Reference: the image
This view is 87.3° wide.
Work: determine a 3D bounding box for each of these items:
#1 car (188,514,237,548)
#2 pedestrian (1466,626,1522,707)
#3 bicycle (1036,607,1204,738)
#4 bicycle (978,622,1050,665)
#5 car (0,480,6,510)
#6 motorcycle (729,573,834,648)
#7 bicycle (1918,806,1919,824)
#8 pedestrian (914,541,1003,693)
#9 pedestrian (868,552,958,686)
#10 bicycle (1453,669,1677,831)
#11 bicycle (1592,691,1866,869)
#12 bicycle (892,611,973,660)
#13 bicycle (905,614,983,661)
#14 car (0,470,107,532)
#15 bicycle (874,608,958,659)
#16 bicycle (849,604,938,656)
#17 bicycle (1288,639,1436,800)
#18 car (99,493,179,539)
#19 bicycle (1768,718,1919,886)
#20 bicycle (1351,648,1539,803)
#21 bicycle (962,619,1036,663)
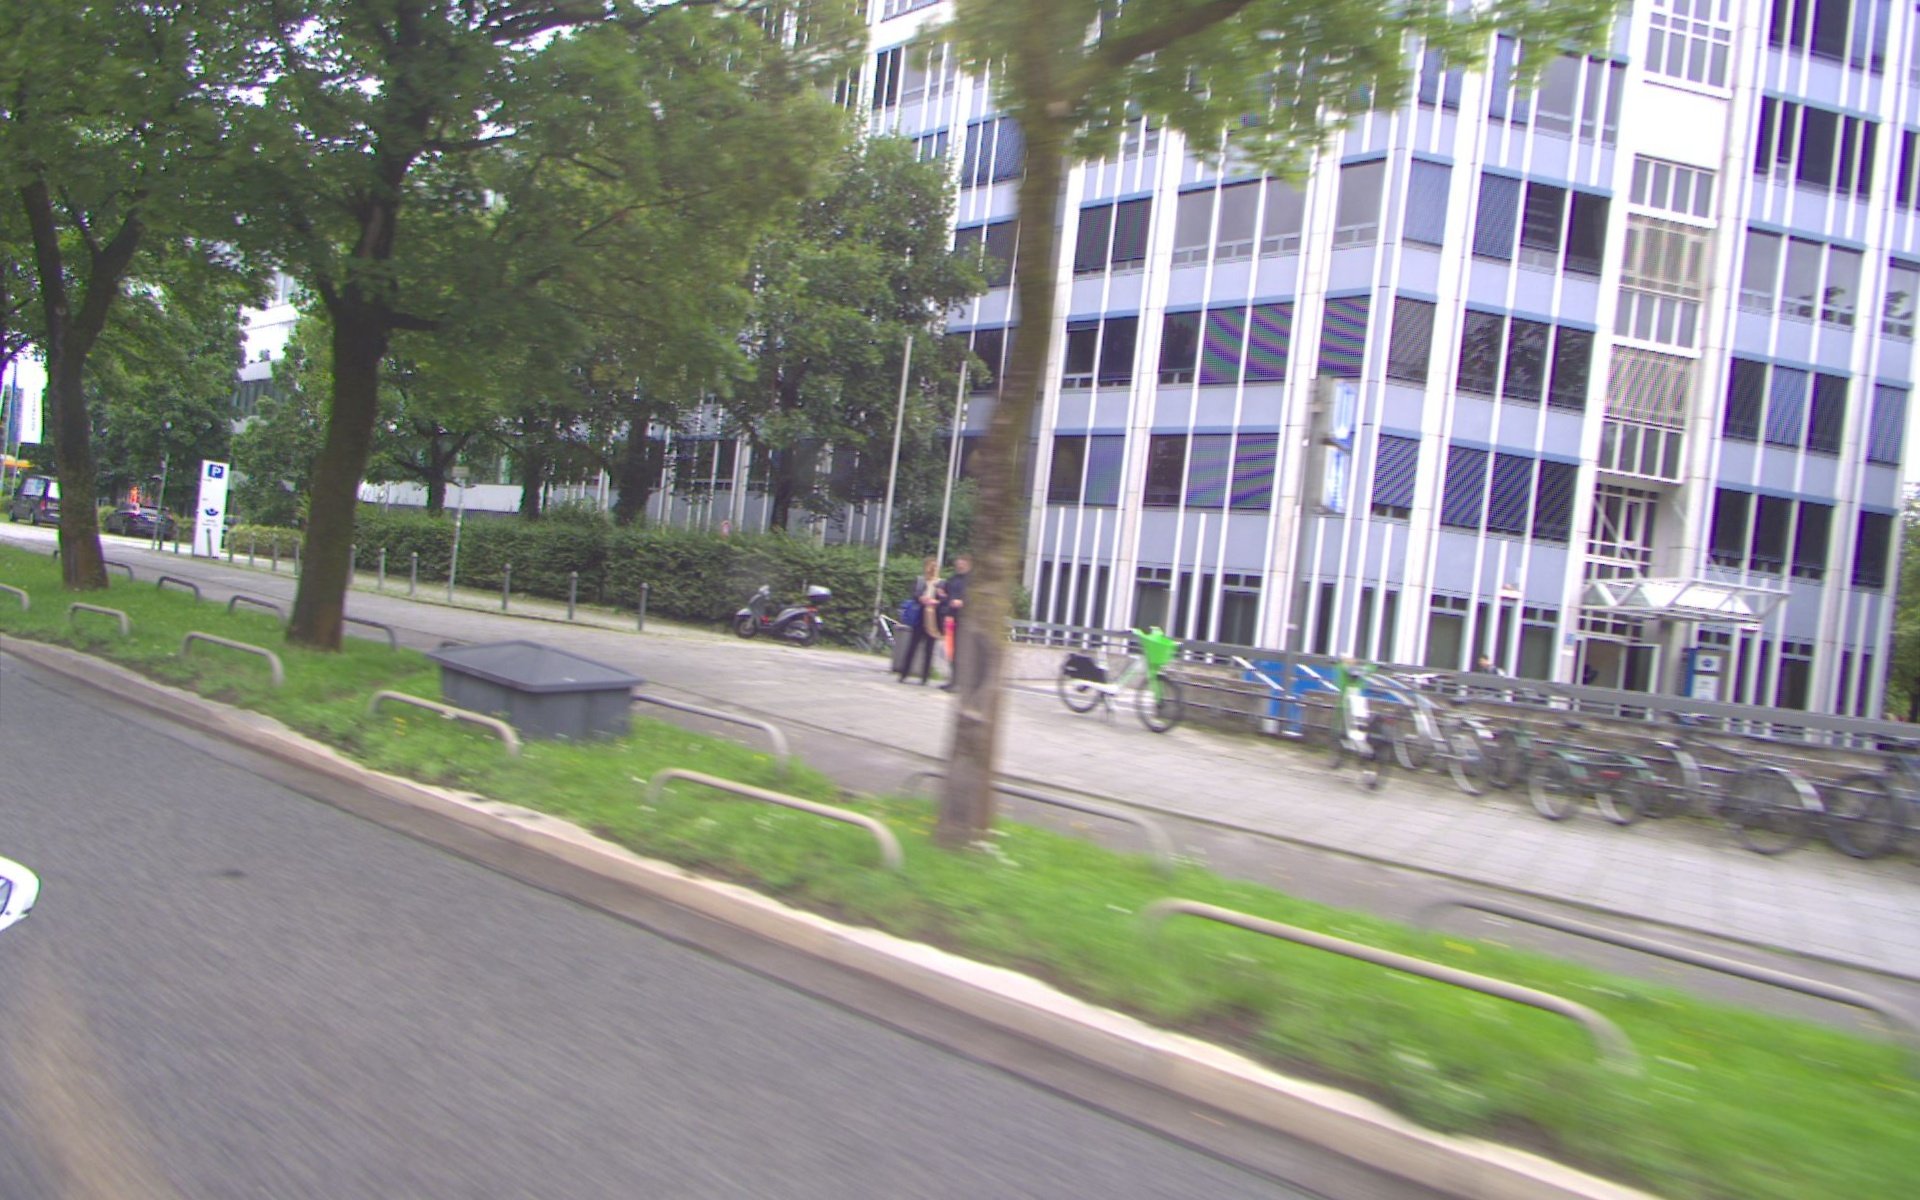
[{"bbox_3d":[-38.086,-3.509,51.312,1.772,1.390,3.927,8,-1,-35],"label":"car"},{"bbox_3d":[11.990,1.486,22.612,0.642,1.699,0.698,6,1,-7],"label":"pedestrian"},{"bbox_3d":[1.855,0.820,11.912,1.834,1.243,0.529,9,5,41],"label":"bicycle"},{"bbox_3d":[1.396,1.118,26.148,1.744,0.864,0.559,8,2,32],"label":"bicycle"},{"bbox_3d":[-69.652,-7.688,69.202,2.113,2.109,5.471,7,0,36],"label":"car"},{"bbox_3d":[-3.733,0.214,21.002,2.036,1.335,0.550,7,1,22],"label":"motorcycle"},{"bbox_3d":[12.946,2.235,11.716,2.434,1.311,0.509,7,1,26],"label":"bicycle"},{"bbox_3d":[-0.018,0.226,13.369,0.649,1.923,0.739,5,2,-44],"label":"pedestrian"},{"bbox_3d":[-0.657,0.265,13.927,0.779,1.736,0.742,6,1,-40],"label":"pedestrian"},{"bbox_3d":[5.603,1.342,9.494,0.587,1.098,1.949,7,3,-8],"label":"bicycle"},{"bbox_3d":[6.572,1.489,8.767,0.570,1.080,1.949,5,3,-8],"label":"bicycle"},{"bbox_3d":[-0.645,0.819,23.155,1.744,0.864,0.559,8,2,32],"label":"bicycle"},{"bbox_3d":[-0.386,0.879,23.718,1.744,0.864,0.559,8,2,32],"label":"bicycle"},{"bbox_3d":[-42.142,-4.615,46.697,6.169,2.336,2.265,7,1,35],"label":"car"},{"bbox_3d":[-0.997,0.746,22.530,1.804,0.864,0.552,8,2,32],"label":"bicycle"},{"bbox_3d":[-1.457,0.654,21.882,1.804,0.864,0.683,8,2,32],"label":"bicycle"},{"bbox_3d":[3.838,1.091,9.786,0.586,1.205,1.952,7,3,2],"label":"bicycle"},{"bbox_3d":[-40.652,-4.163,49.765,4.401,1.841,1.842,7,1,35],"label":"car"},{"bbox_3d":[7.573,1.631,7.860,0.594,1.104,2.037,4,2,-8],"label":"bicycle"},{"bbox_3d":[4.757,1.187,10.054,0.570,1.124,1.948,7,4,-8],"label":"bicycle"},{"bbox_3d":[0.979,1.030,25.428,1.744,0.864,0.559,8,2,32],"label":"bicycle"}]
